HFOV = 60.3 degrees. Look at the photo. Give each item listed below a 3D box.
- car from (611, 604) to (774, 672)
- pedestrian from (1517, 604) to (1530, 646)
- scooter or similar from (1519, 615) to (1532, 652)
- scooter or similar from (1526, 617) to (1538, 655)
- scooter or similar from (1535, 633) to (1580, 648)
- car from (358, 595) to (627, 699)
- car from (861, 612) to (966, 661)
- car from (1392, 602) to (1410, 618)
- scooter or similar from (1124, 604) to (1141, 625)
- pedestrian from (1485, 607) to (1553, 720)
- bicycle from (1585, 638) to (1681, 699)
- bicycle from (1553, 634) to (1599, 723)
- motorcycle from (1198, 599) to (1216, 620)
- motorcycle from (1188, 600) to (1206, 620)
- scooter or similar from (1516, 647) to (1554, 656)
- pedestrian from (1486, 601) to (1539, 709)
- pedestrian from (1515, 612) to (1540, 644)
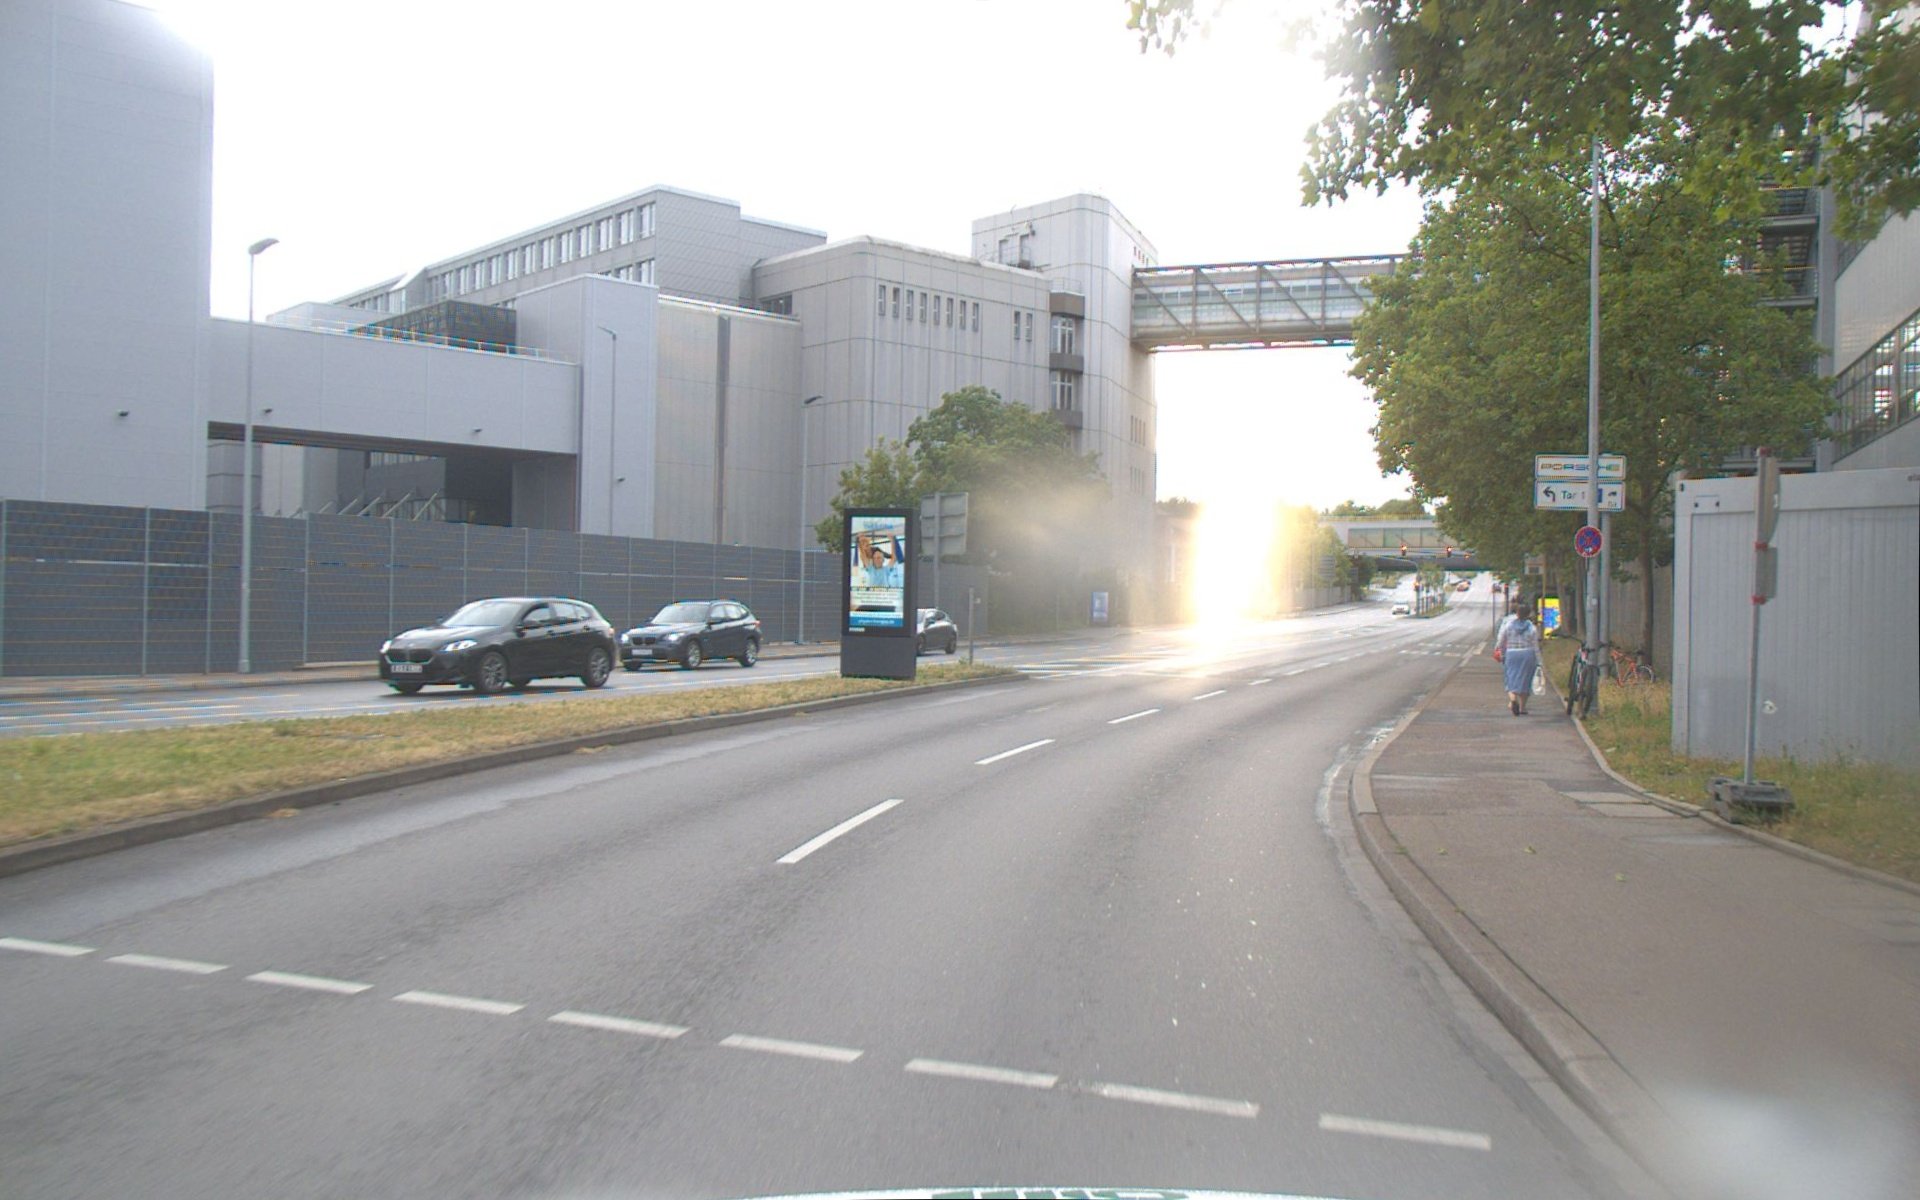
[{"bbox_3d":[-6.136,0.848,38.474,1.746,1.480,4.561,-1,0,20],"label":"car"},{"bbox_3d":[22.743,0.997,66.718,0.471,1.696,0.662,0,0,16],"label":"pedestrian"},{"bbox_3d":[20.163,1.204,59.019,0.424,1.292,1.194,0,0,19],"label":"scooter or similar"},{"bbox_3d":[19.322,1.208,55.863,0.380,1.248,1.074,0,0,19],"label":"scooter or similar"},{"bbox_3d":[23.212,1.564,64.240,1.535,0.528,0.641,0,0,36],"label":"scooter or similar"},{"bbox_3d":[-7.216,0.679,26.011,1.746,1.465,4.395,1,0,22],"label":"car"},{"bbox_3d":[-1.375,1.090,50.835,1.745,1.409,4.548,-1,-1,19],"label":"car"},{"bbox_3d":[49.376,1.137,185.103,1.951,1.803,4.003,1,0,15],"label":"car"},{"bbox_3d":[10.712,0.915,102.615,0.514,1.274,1.798,0,0,23],"label":"scooter or similar"},{"bbox_3d":[7.900,0.875,23.349,0.815,1.547,0.841,1,0,25],"label":"pedestrian"},{"bbox_3d":[11.553,1.157,28.440,0.504,0.970,1.691,1,0,-21],"label":"bicycle"},{"bbox_3d":[8.496,1.054,22.846,0.334,1.138,1.974,1,0,13],"label":"bicycle"},{"bbox_3d":[19.458,0.743,130.453,0.938,1.583,3.302,0,0,16],"label":"motorcycle"},{"bbox_3d":[18.138,0.752,126.522,0.894,1.559,3.302,0,0,16],"label":"motorcycle"},{"bbox_3d":[18.874,1.687,54.325,0.639,0.251,1.524,0,0,-3],"label":"scooter or similar"},{"bbox_3d":[8.518,0.832,25.499,0.695,1.620,0.840,1,0,23],"label":"pedestrian"},{"bbox_3d":[24.207,1.177,70.570,0.932,1.340,0.685,0,0,25],"label":"pedestrian"}]
